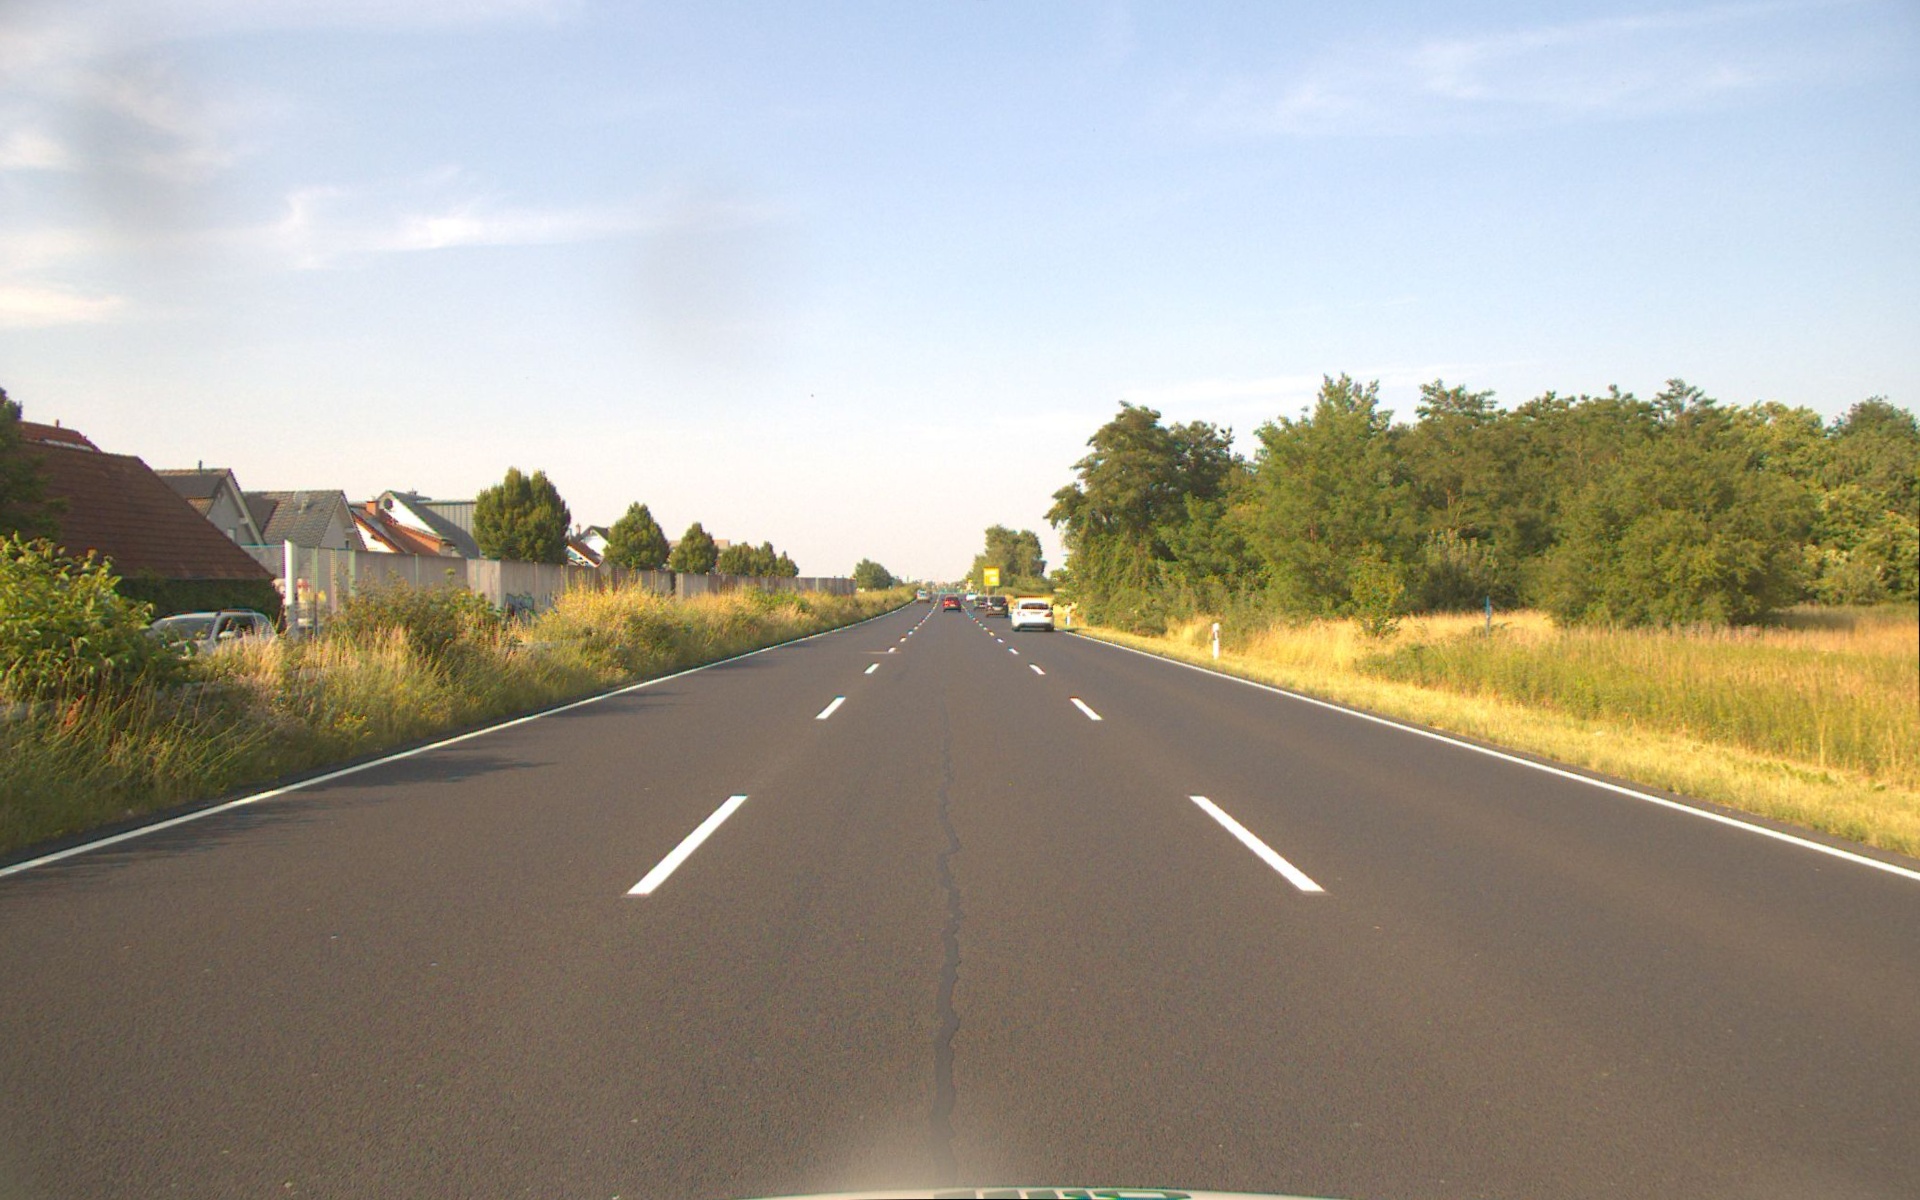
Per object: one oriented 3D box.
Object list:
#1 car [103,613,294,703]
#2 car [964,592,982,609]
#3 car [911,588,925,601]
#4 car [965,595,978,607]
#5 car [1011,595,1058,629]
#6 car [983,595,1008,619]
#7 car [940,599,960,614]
[{"bbox_3d":[-14.103,1.033,30.883,1.654,1.535,4.185,1,0,-1],"label":"car"},{"bbox_3d":[1.319,0.039,172.814,1.796,1.747,3.862,1,0,0],"label":"car"},{"bbox_3d":[-5.885,-0.811,233.036,1.953,1.747,3.999,1,0,-1],"label":"car"},{"bbox_3d":[1.709,0.203,243.859,1.809,1.780,4.000,1,0,0],"label":"car"},{"bbox_3d":[3.439,0.555,76.930,1.953,1.543,3.999,1,0,-1],"label":"car"},{"bbox_3d":[2.737,0.536,128.175,1.791,1.758,3.999,1,0,-1],"label":"car"},{"bbox_3d":[-0.968,0.621,158.384,1.775,1.461,3.857,1,0,-1],"label":"car"}]
